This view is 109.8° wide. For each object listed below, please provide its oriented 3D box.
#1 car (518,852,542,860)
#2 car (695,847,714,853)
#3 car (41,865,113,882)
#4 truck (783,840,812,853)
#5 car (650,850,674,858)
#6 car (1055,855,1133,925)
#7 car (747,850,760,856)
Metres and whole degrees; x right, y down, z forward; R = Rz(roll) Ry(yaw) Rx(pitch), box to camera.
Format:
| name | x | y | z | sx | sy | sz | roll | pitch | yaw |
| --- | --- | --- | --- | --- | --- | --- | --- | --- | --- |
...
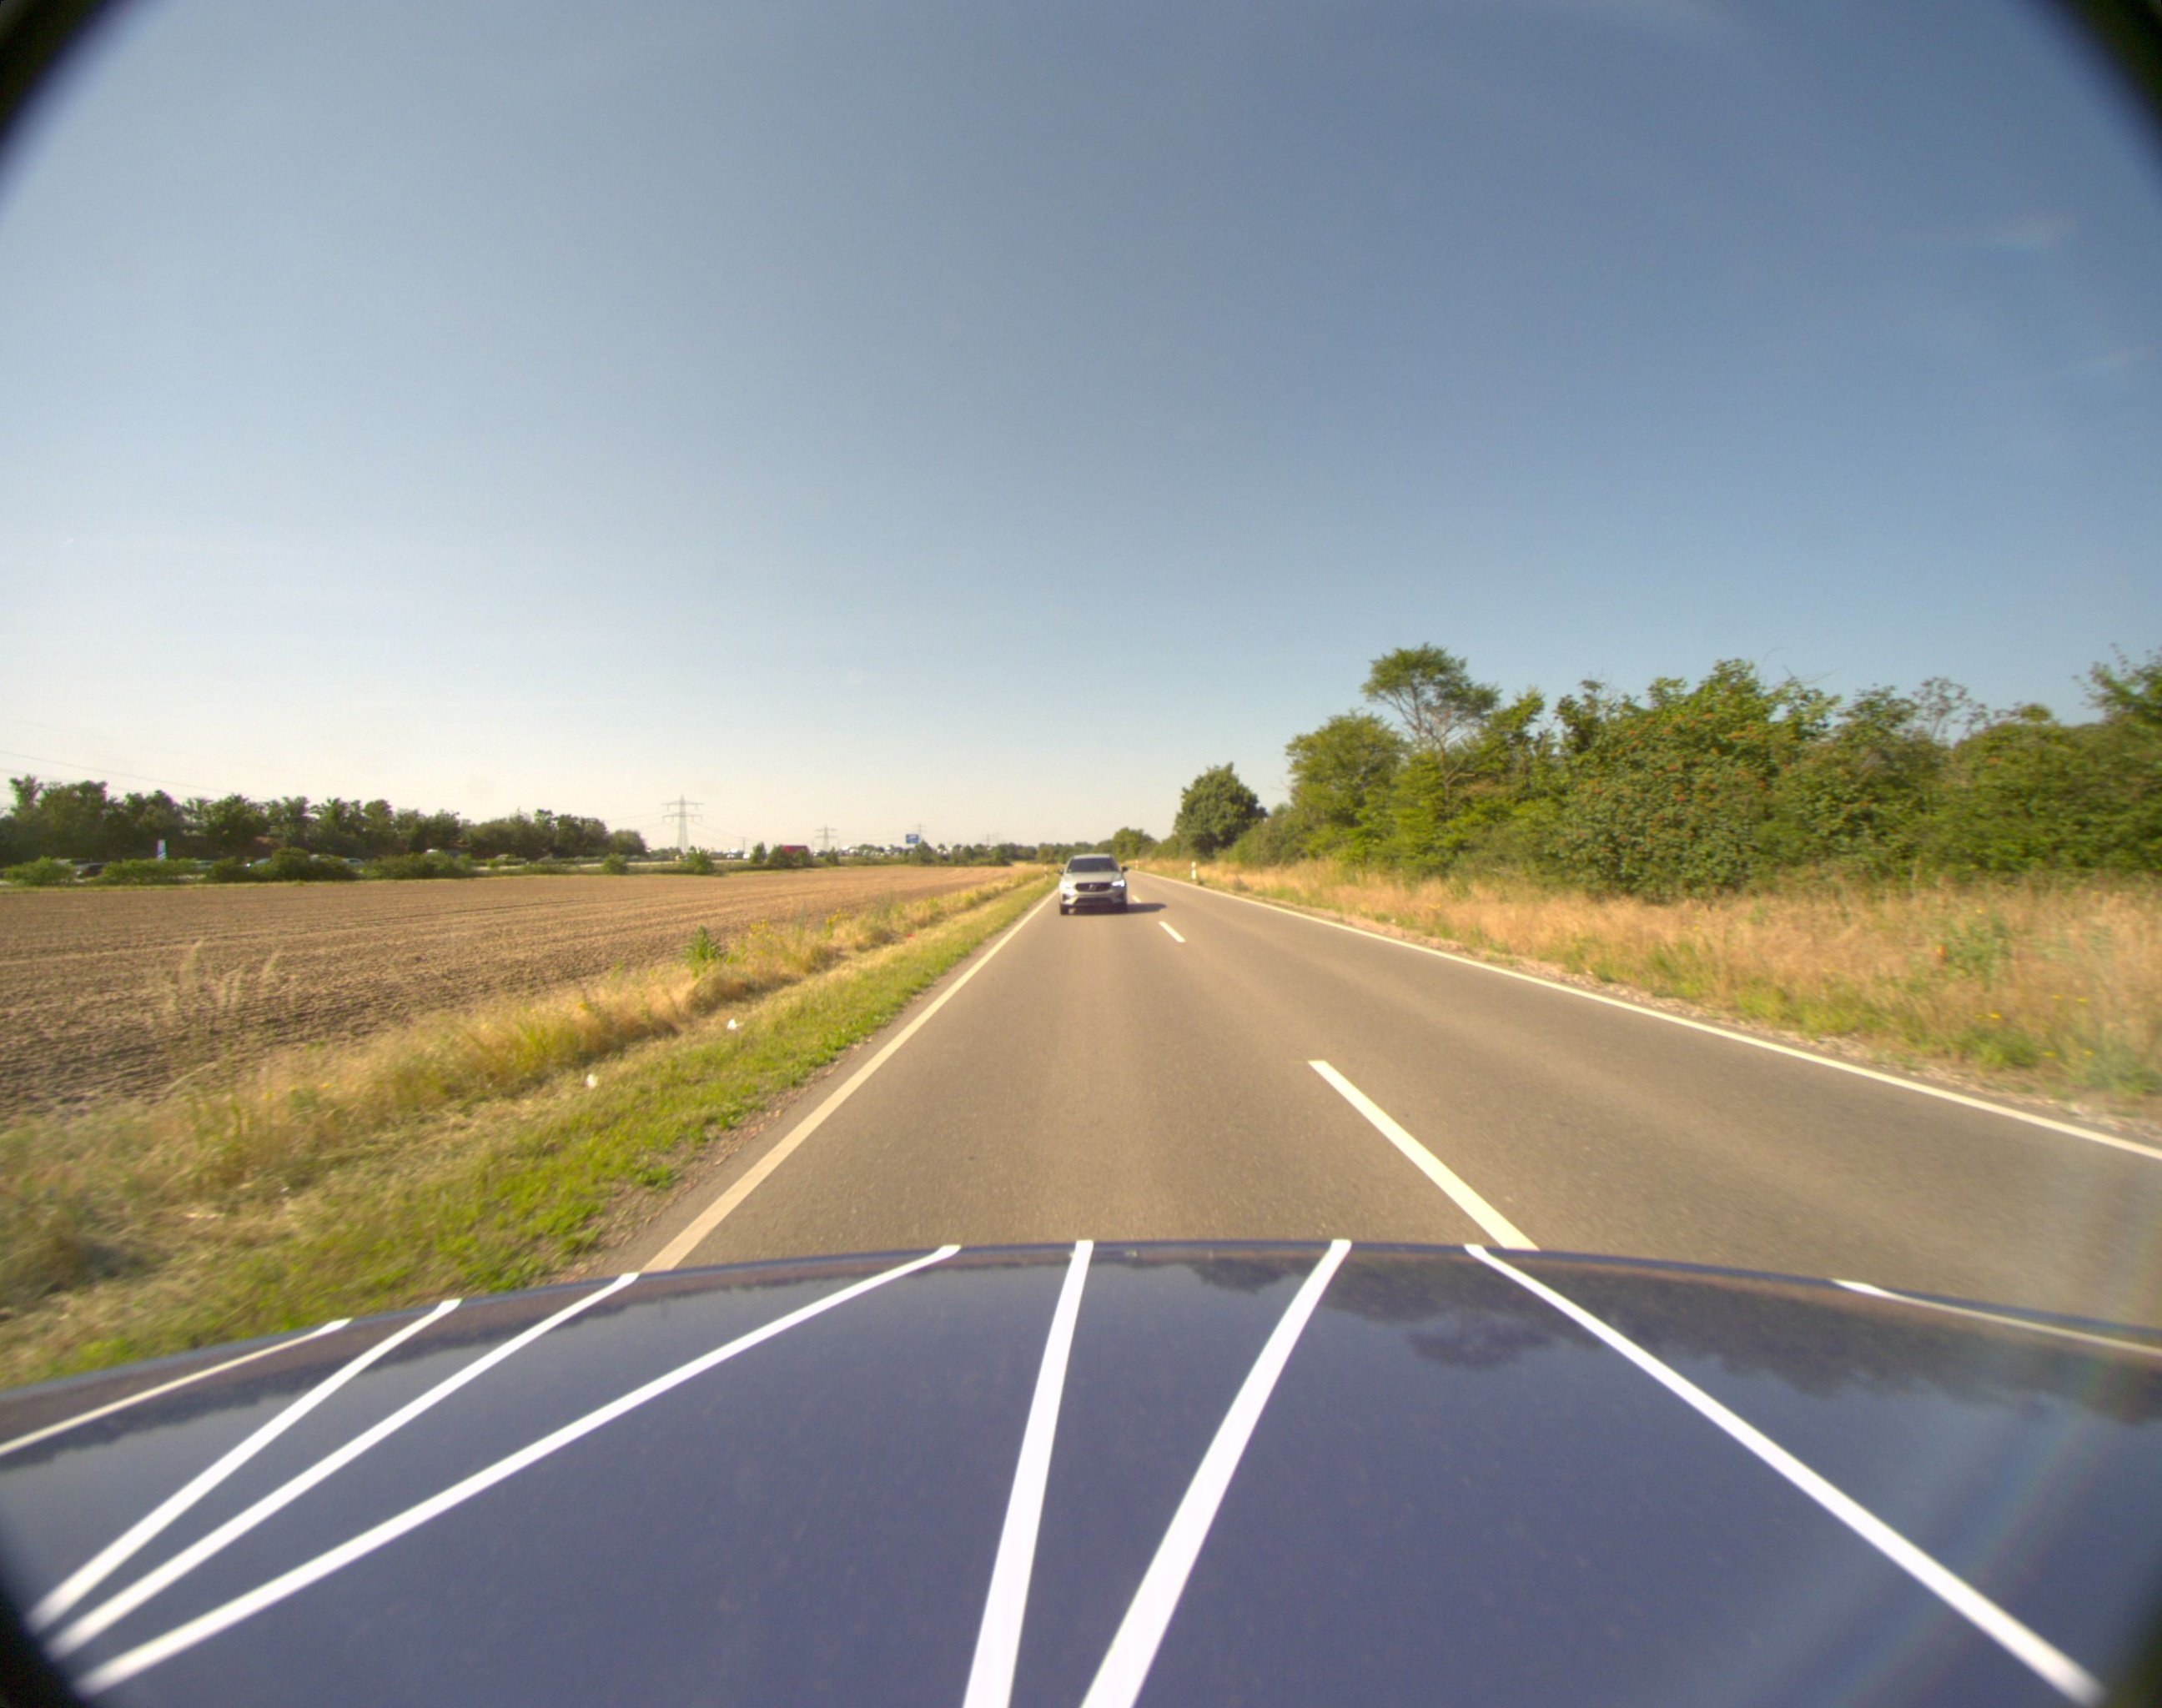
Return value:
| name | x | y | z | sx | sy | sz | roll | pitch | yaw |
| --- | --- | --- | --- | --- | --- | --- | --- | --- | --- |
| car | -95.974 | 0.345 | 132.343 | 1.415 | 1.307 | 3.596 | -2 | 1 | 3 |
| car | -99.985 | -1.061 | 201.860 | 2.055 | 1.671 | 5.608 | -2 | 1 | 1 |
| car | -87.927 | 1.672 | 66.601 | 1.583 | 1.256 | 3.550 | -2 | 1 | 0 |
| truck | -81.317 | -2.083 | 218.492 | 2.910 | 3.538 | 13.690 | -1 | 0 | 1 |
| car | -95.550 | -0.088 | 173.396 | 2.055 | 1.671 | 5.608 | -2 | 1 | 1 |
| car | 0.330 | 0.871 | 20.465 | 1.840 | 1.628 | 4.135 | -2 | 0 | 0 |
| car | -81.692 | -0.180 | 189.624 | 1.494 | 1.414 | 3.596 | -2 | 1 | 4 |
